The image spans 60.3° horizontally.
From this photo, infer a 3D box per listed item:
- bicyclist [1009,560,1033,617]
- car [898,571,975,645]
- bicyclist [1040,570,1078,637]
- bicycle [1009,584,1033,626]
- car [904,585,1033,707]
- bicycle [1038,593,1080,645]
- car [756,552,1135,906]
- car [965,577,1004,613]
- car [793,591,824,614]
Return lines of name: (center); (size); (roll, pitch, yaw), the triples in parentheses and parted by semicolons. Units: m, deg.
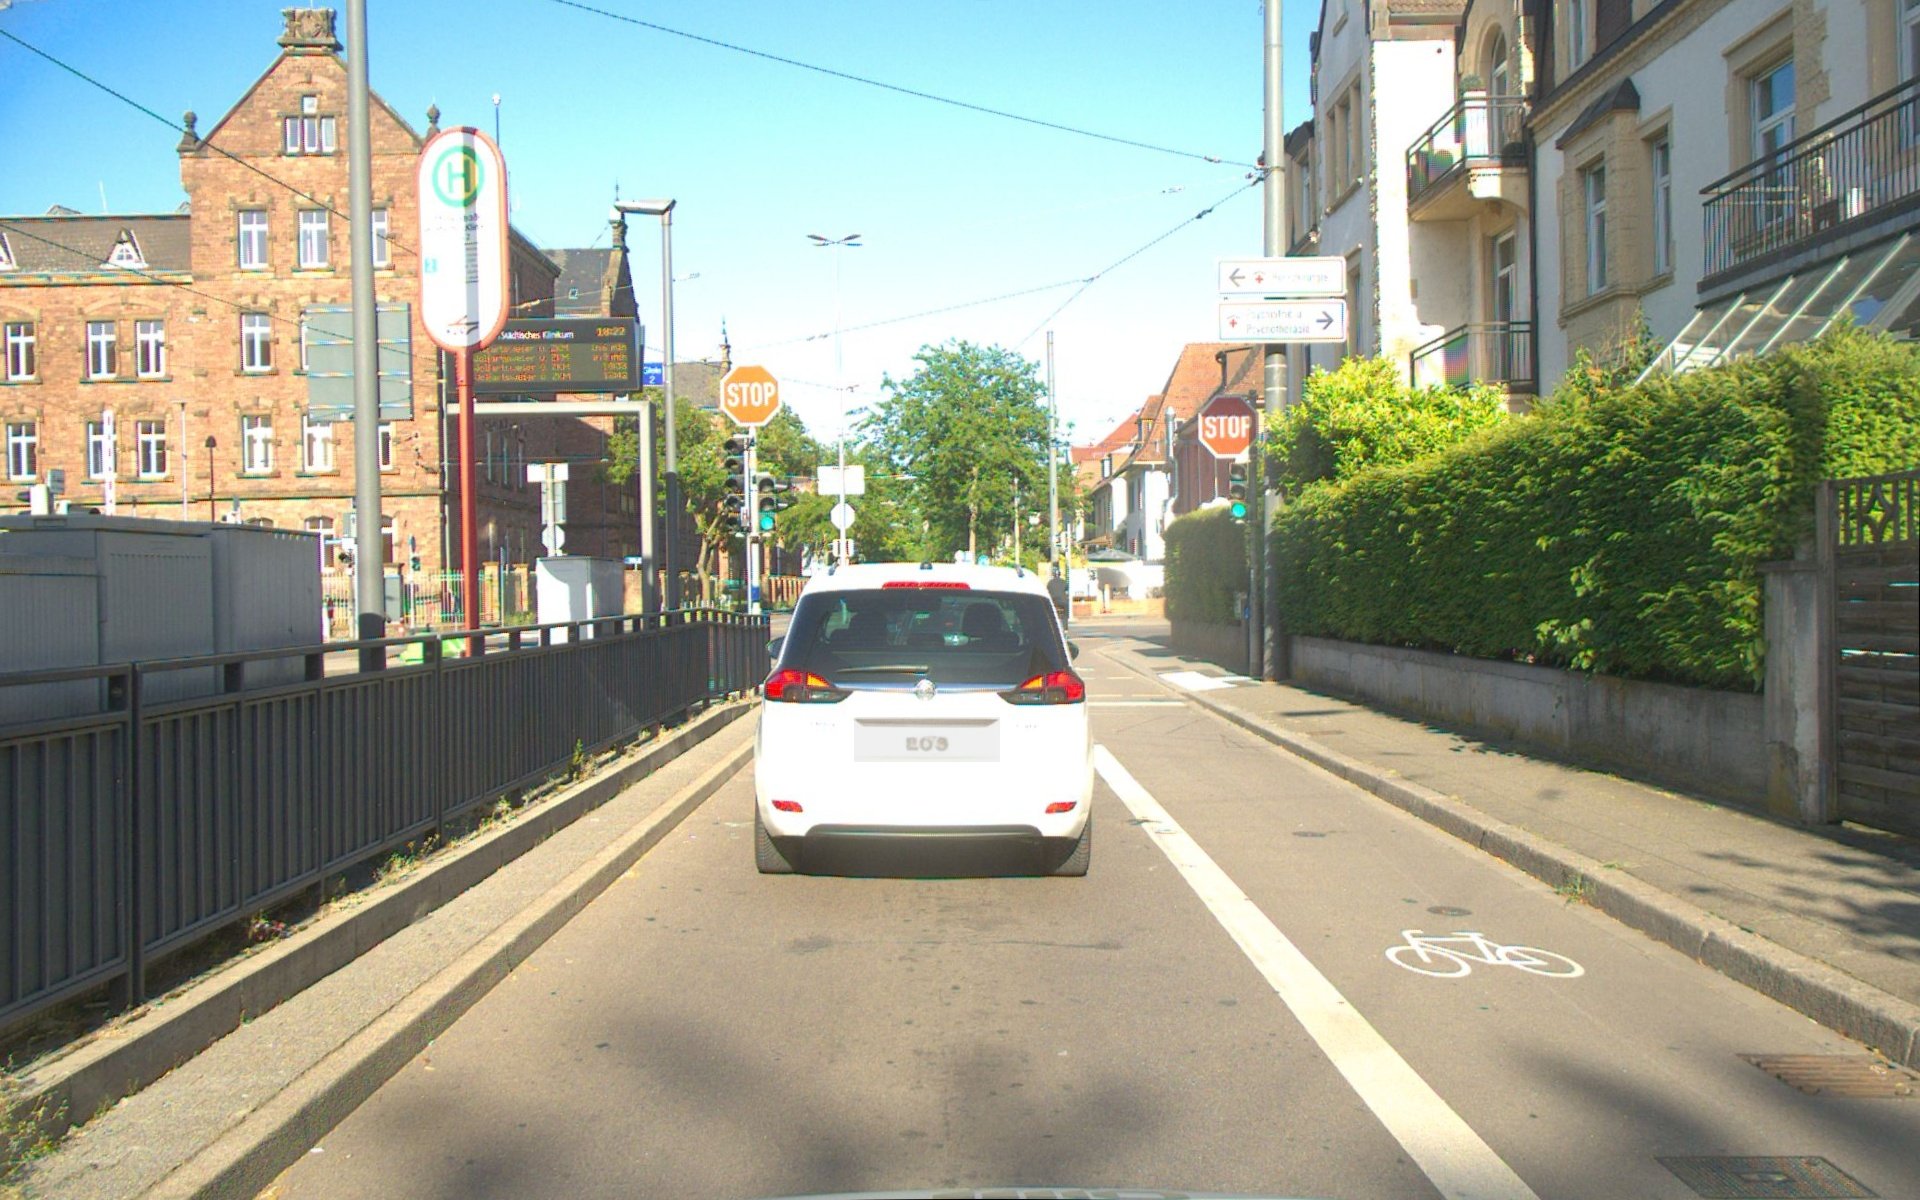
bicyclist: (1.790, -0.337, 48.380); (0.671, 1.663, 1.016); (-1, 0, 2)
car: (-0.535, 0.171, 39.425); (1.739, 1.660, 3.880); (-1, 0, 0)
bicyclist: (2.303, 0.076, 38.717); (0.804, 1.528, 0.934); (-1, 0, -1)
bicycle: (1.792, 0.146, 48.267); (0.671, 1.177, 1.620); (-1, 0, 2)
car: (0.161, 0.556, 22.420); (1.553, 1.445, 3.901); (-2, 1, 2)
bicycle: (2.314, 0.422, 38.733); (0.812, 1.175, 2.094); (-1, 0, -1)
car: (-0.058, 0.612, 9.886); (1.797, 1.670, 3.919); (-1, 0, 0)
car: (1.193, -0.224, 79.892); (1.739, 1.660, 3.882); (-1, 0, 2)
car: (-9.903, 0.181, 108.496); (1.548, 1.466, 3.585); (-1, 0, 2)
